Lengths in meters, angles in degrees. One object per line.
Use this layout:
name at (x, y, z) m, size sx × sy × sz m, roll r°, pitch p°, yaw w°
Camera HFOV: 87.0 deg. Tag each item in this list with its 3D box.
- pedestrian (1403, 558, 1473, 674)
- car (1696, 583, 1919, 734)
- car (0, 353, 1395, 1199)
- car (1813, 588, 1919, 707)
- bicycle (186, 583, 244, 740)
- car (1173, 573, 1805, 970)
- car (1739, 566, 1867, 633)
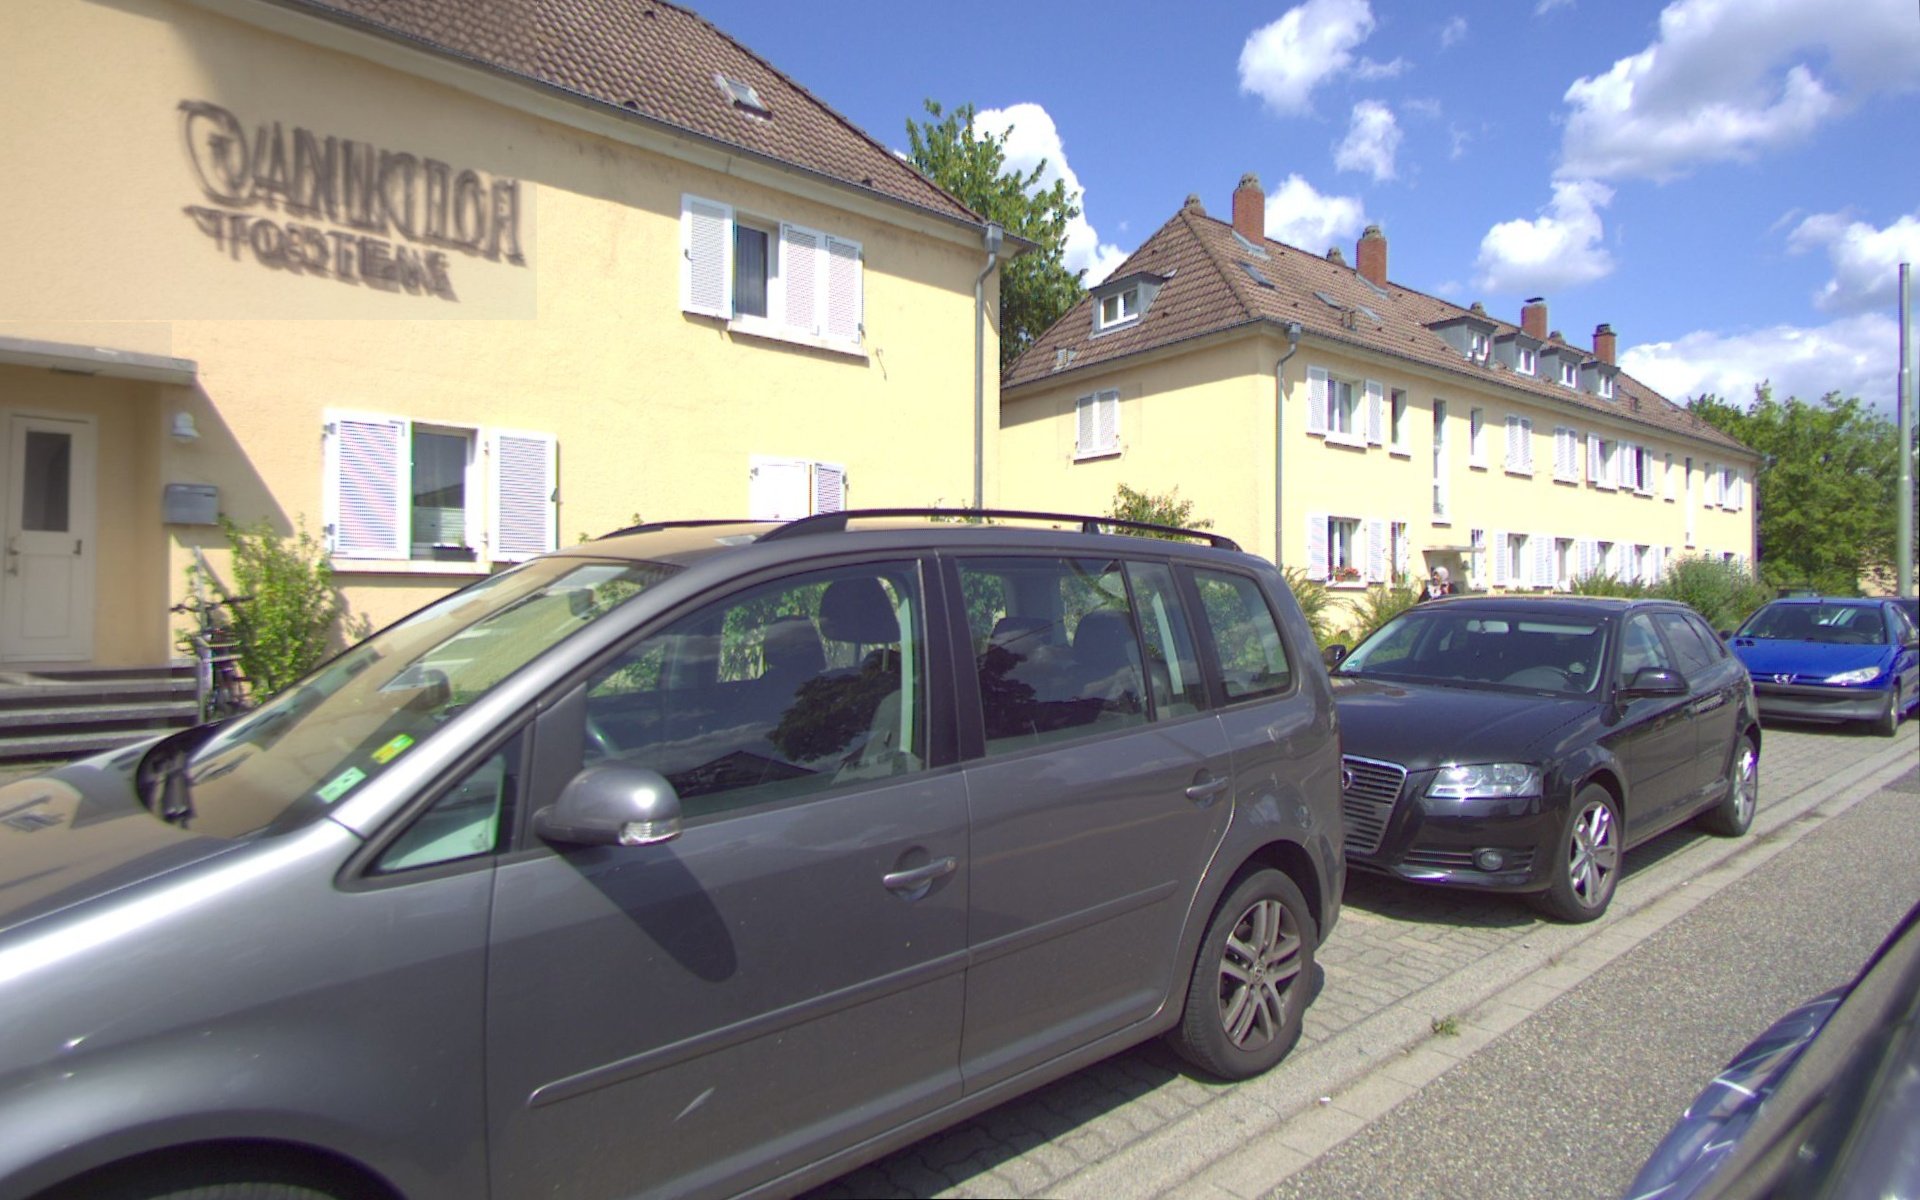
pedestrian at (7.095, 0.220, 15.008) m, size 0.884 × 1.659 × 0.617 m, roll -1°, pitch 1°, yaw -39°
car at (10.202, 0.541, 11.789) m, size 3.828 × 1.447 × 1.702 m, roll -1°, pitch 2°, yaw -39°
car at (-0.642, 0.504, 2.766) m, size 4.195 × 1.650 × 1.682 m, roll -1°, pitch 1°, yaw -40°
car at (13.904, 0.589, 14.521) m, size 4.545 × 1.507 × 1.756 m, roll -1°, pitch 1°, yaw -39°
bicycle at (-5.869, 0.453, 7.950) m, size 0.285 × 1.117 × 1.692 m, roll 0°, pitch -1°, yaw -39°
car at (3.311, 0.597, 5.876) m, size 4.437 × 1.455 × 1.689 m, roll -2°, pitch 2°, yaw -40°
car at (24.065, -0.026, 28.860) m, size 3.971 × 1.768 × 1.928 m, roll 0°, pitch 0°, yaw -37°
